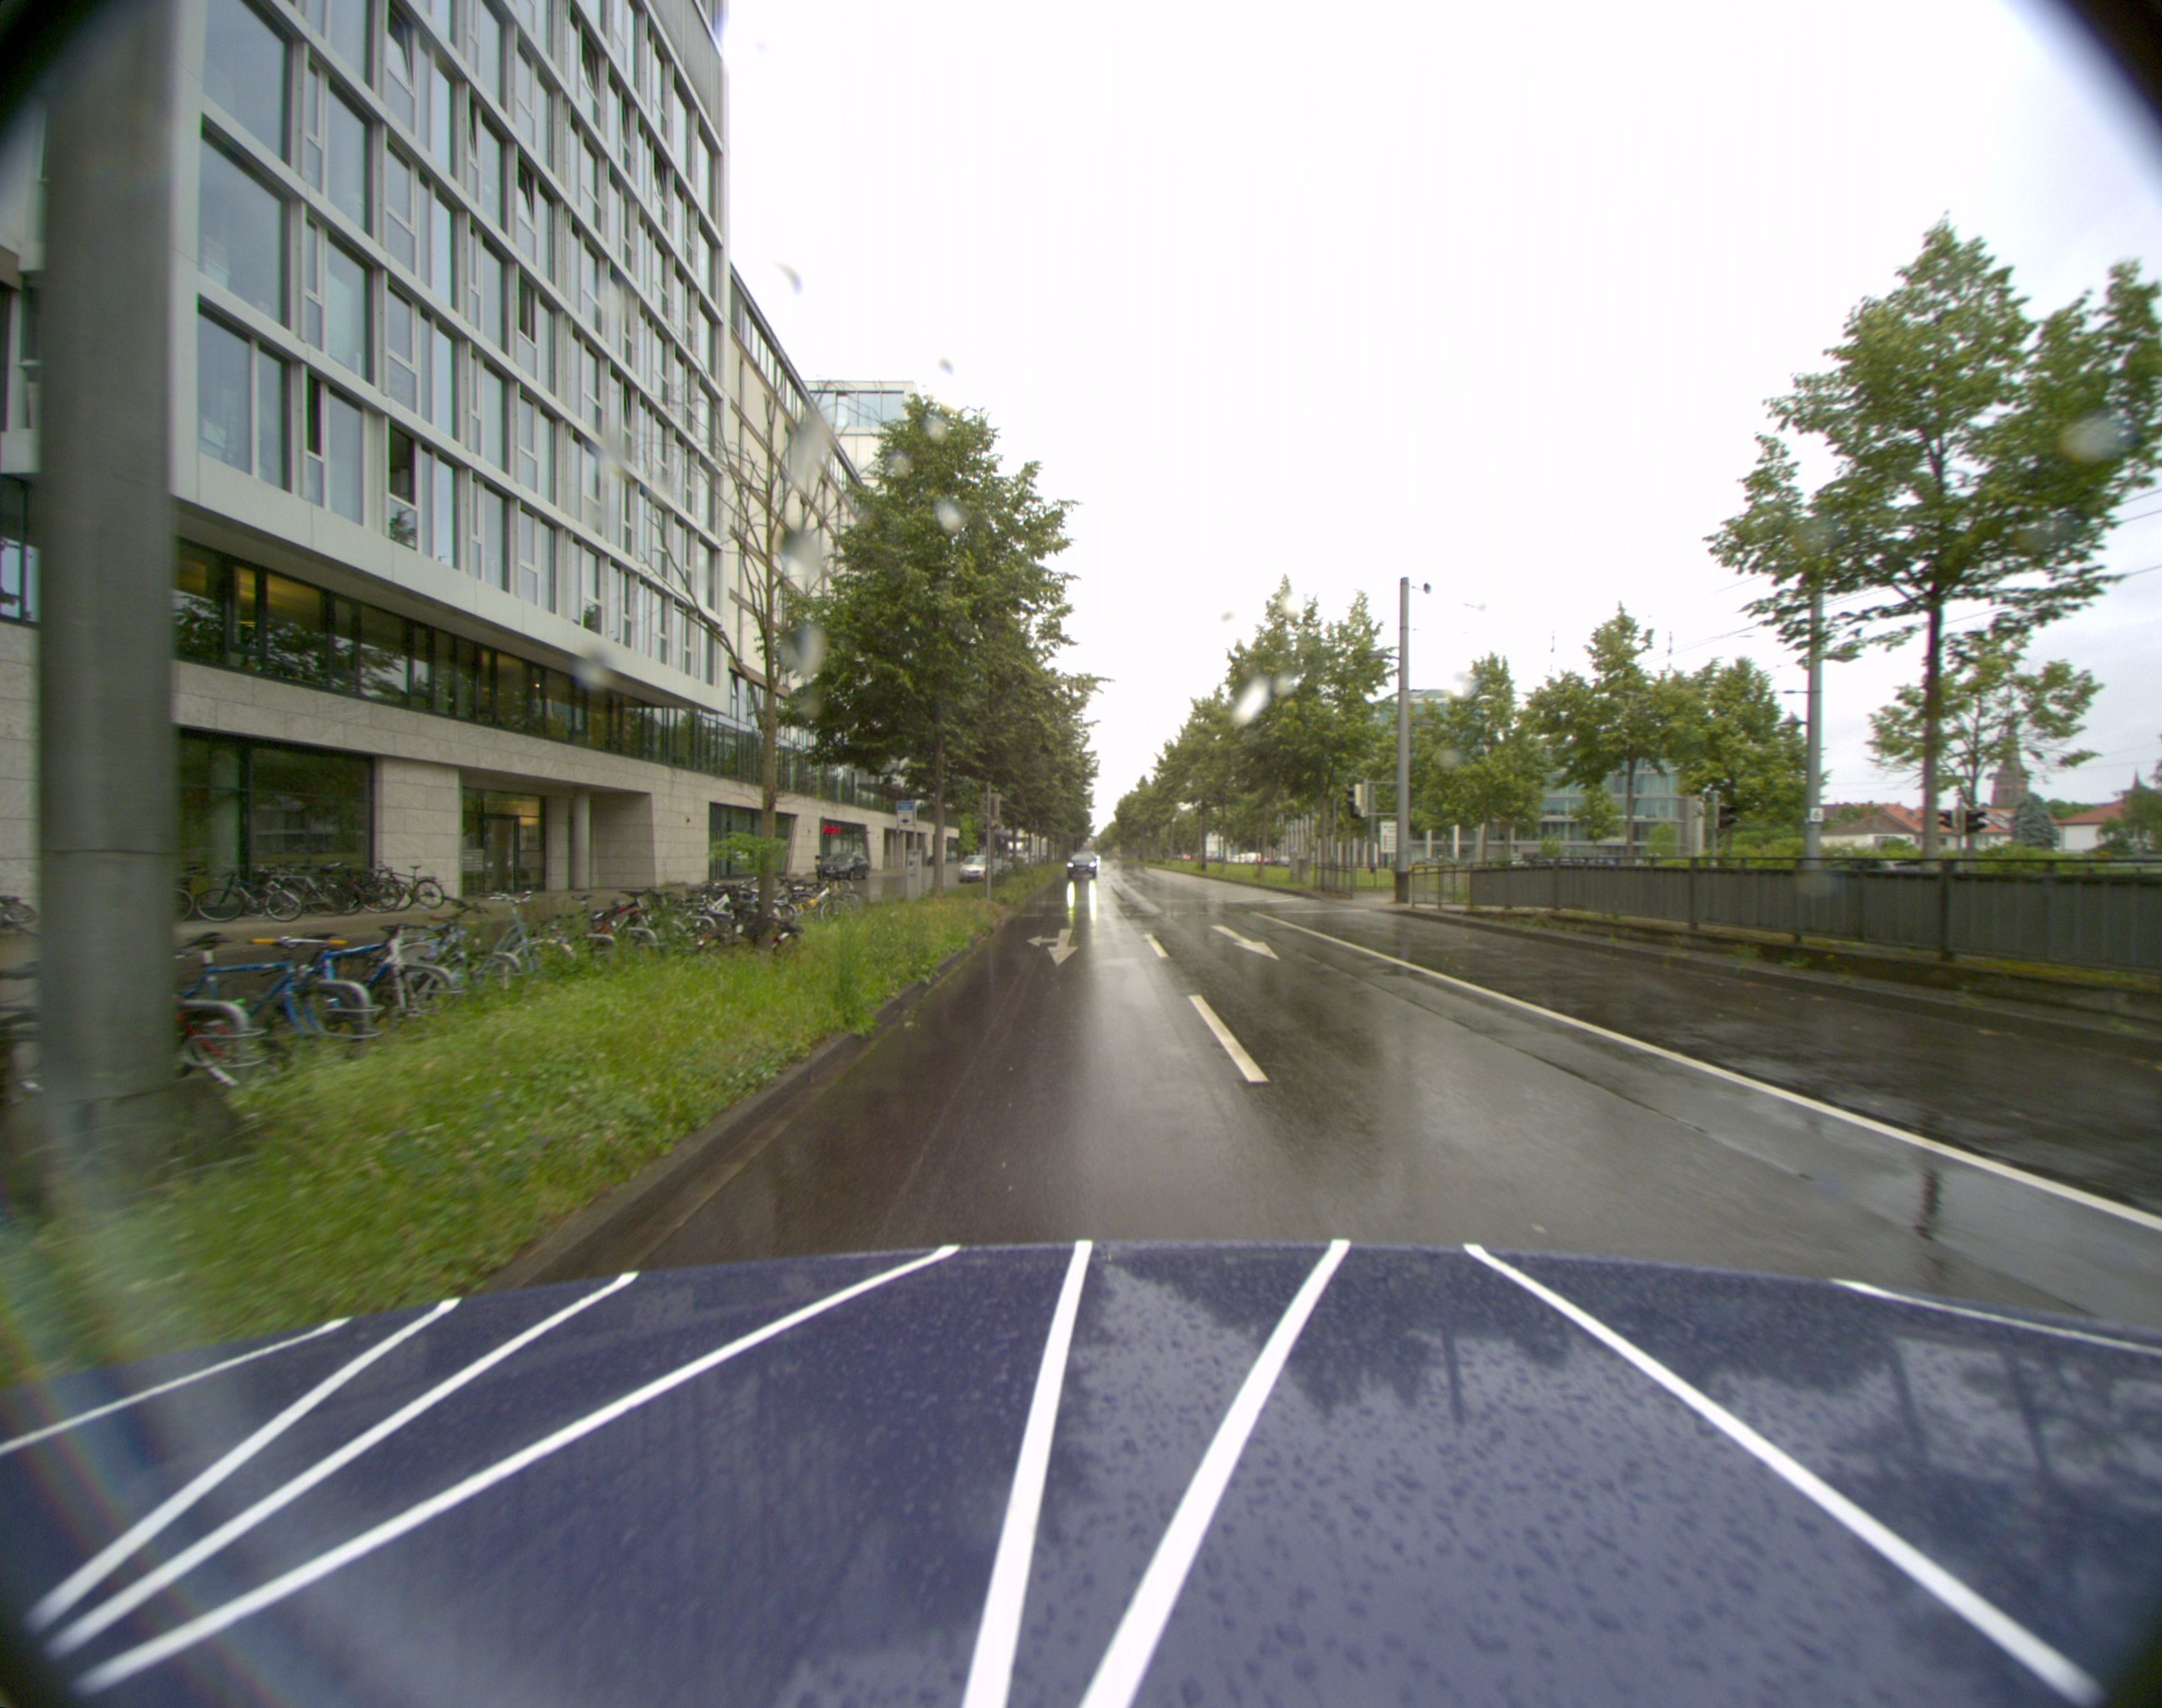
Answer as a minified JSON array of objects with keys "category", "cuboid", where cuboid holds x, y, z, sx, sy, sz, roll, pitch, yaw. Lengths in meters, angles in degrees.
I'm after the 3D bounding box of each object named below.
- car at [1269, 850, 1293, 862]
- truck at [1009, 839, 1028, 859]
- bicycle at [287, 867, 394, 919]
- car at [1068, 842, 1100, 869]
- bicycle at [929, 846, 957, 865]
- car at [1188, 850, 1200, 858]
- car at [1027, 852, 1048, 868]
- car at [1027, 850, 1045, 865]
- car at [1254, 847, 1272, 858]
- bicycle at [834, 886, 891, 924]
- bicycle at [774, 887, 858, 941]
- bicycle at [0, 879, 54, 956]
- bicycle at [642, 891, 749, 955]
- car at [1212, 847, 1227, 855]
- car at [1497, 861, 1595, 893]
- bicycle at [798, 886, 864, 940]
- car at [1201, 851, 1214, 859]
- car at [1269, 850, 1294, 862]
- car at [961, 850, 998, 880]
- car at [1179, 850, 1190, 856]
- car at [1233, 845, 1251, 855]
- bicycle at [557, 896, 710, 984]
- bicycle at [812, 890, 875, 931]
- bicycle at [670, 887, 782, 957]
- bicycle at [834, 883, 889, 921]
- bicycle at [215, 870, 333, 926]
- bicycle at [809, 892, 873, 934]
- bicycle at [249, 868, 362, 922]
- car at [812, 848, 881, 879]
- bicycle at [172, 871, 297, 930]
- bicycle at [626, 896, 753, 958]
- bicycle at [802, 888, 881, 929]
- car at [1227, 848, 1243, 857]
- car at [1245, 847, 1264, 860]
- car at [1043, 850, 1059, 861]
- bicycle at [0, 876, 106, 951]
[{"category":"car","cuboid":[23.233,0.174,88.343,1.492,1.290,4.976,1,1,0]},{"category":"truck","cuboid":[-11.121,-0.898,135.612,3.033,3.421,8.545,1,0,-2]},{"category":"bicycle","cuboid":[-15.743,0.820,16.163,1.811,1.022,0.541,1,1,3]},{"category":"car","cuboid":[0.253,0.113,50.710,1.928,1.650,4.716,2,0,1]},{"category":"bicycle","cuboid":[-14.288,0.177,78.629,2.685,1.850,0.707,1,0,5]},{"category":"car","cuboid":[25.468,0.008,171.616,1.956,1.837,4.544,1,-1,0]},{"category":"car","cuboid":[-4.933,0.765,87.257,1.998,1.659,4.725,1,-2,1]},{"category":"car","cuboid":[-4.855,0.412,82.168,1.629,1.482,3.656,1,-1,0]},{"category":"car","cuboid":[29.196,-0.208,122.020,1.955,1.739,4.577,1,0,4]},{"category":"bicycle","cuboid":[-5.176,1.200,18.010,1.290,0.827,0.275,1,1,12]},{"category":"bicycle","cuboid":[-5.404,1.213,15.484,1.577,1.012,0.408,1,1,7]},{"category":"bicycle","cuboid":[-15.505,0.875,10.663,1.697,1.022,0.423,1,1,3]},{"category":"bicycle","cuboid":[-5.681,1.009,11.211,1.414,0.892,0.275,1,1,-2]},{"category":"car","cuboid":[26.909,-0.600,147.629,1.956,1.485,3.963,1,-2,-2]},{"category":"car","cuboid":[25.914,1.238,42.634,1.956,1.598,5.499,1,0,-2]},{"category":"bicycle","cuboid":[-5.214,1.226,15.856,1.291,1.068,0.275,1,1,9]},{"category":"car","cuboid":[26.624,0.171,159.899,1.956,1.377,4.606,1,-2,0]},{"category":"car","cuboid":[23.183,0.281,88.032,1.553,1.258,4.852,1,-1,-1]},{"category":"car","cuboid":[-5.699,0.664,42.246,1.887,1.496,4.721,1,-2,-9]},{"category":"car","cuboid":[23.253,-0.198,171.199,1.955,1.444,4.576,1,0,0]},{"category":"car","cuboid":[29.406,-0.693,138.882,1.956,1.641,5.030,1,-2,-2]},{"category":"bicycle","cuboid":[-5.391,1.031,9.175,1.647,0.983,0.320,1,1,0]},{"category":"bicycle","cuboid":[-5.189,1.225,16.603,1.291,0.844,0.275,1,1,5]},{"category":"bicycle","cuboid":[-5.624,1.070,12.060,1.617,1.047,0.296,1,1,-2]},{"category":"bicycle","cuboid":[-5.325,1.154,18.423,1.290,0.869,0.301,1,1,12]},{"category":"bicycle","cuboid":[-15.817,0.849,14.909,1.811,1.022,0.541,1,1,3]},{"category":"bicycle","cuboid":[-5.141,1.250,16.285,1.291,0.853,0.275,1,0,5]},{"category":"bicycle","cuboid":[-15.789,0.830,15.481,1.811,1.022,0.541,1,1,3]},{"category":"car","cuboid":[-12.564,0.525,41.080,1.998,1.492,5.035,3,-1,1]},{"category":"bicycle","cuboid":[-15.853,0.856,14.243,1.811,1.022,0.541,1,1,3]},{"category":"bicycle","cuboid":[-5.473,1.017,10.638,1.619,0.844,0.275,0,1,0]},{"category":"bicycle","cuboid":[-5.342,1.214,16.964,1.675,0.844,0.275,1,1,5]},{"category":"car","cuboid":[27.556,-0.224,136.001,1.955,1.504,4.576,1,0,0]},{"category":"car","cuboid":[29.675,-0.112,130.040,2.273,1.994,5.375,1,-2,2]},{"category":"car","cuboid":[-4.208,0.181,106.024,1.962,1.504,4.479,1,0,-6]},{"category":"bicycle","cuboid":[-15.447,0.865,11.185,1.754,1.022,0.412,1,1,3]}]
